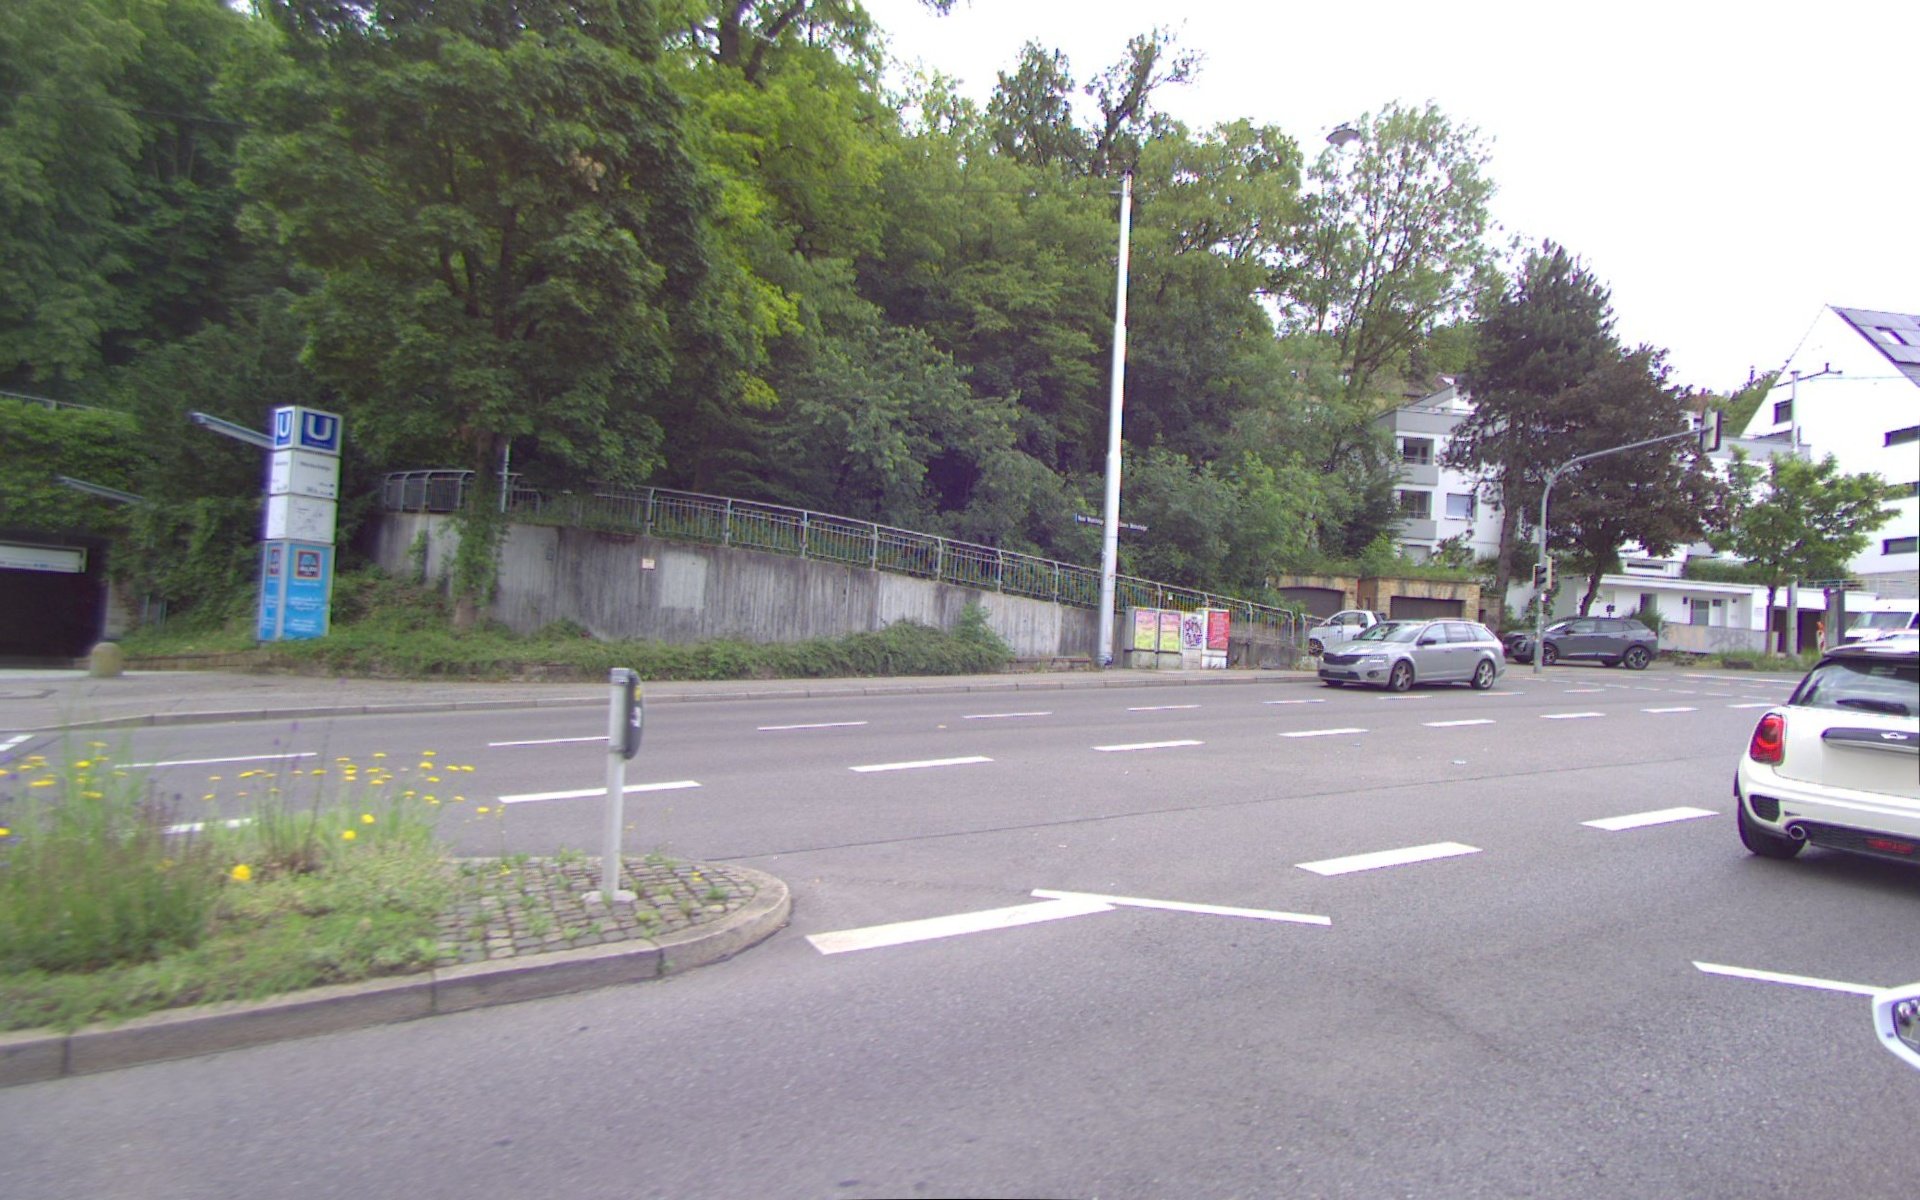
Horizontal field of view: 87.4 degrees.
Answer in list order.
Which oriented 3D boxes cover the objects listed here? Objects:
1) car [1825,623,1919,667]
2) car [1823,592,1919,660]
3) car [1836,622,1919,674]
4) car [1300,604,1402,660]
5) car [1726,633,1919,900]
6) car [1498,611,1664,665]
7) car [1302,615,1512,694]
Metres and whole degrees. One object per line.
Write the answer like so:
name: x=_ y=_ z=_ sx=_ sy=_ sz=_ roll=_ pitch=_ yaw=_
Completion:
car: x=33.101 y=1.609 z=36.006 sx=3.870 sy=1.485 sz=1.618 roll=1 pitch=-1 yaw=-23
car: x=38.345 y=1.077 z=40.321 sx=7.305 sy=2.602 sz=2.230 roll=1 pitch=-1 yaw=-19
car: x=28.352 y=1.435 z=29.997 sx=4.085 sy=1.412 sz=1.647 roll=2 pitch=1 yaw=-23
car: x=12.342 y=0.995 z=31.731 sx=2.664 sy=1.540 sz=1.560 roll=4 pitch=1 yaw=33
car: x=6.587 y=0.936 z=6.354 sx=3.526 sy=1.412 sz=1.619 roll=2 pitch=-2 yaw=-32
car: x=19.123 y=1.156 z=31.100 sx=4.049 sy=1.560 sz=1.600 roll=1 pitch=-1 yaw=11
car: x=9.324 y=1.092 z=20.857 sx=4.513 sy=1.468 sz=1.643 roll=1 pitch=0 yaw=-30
